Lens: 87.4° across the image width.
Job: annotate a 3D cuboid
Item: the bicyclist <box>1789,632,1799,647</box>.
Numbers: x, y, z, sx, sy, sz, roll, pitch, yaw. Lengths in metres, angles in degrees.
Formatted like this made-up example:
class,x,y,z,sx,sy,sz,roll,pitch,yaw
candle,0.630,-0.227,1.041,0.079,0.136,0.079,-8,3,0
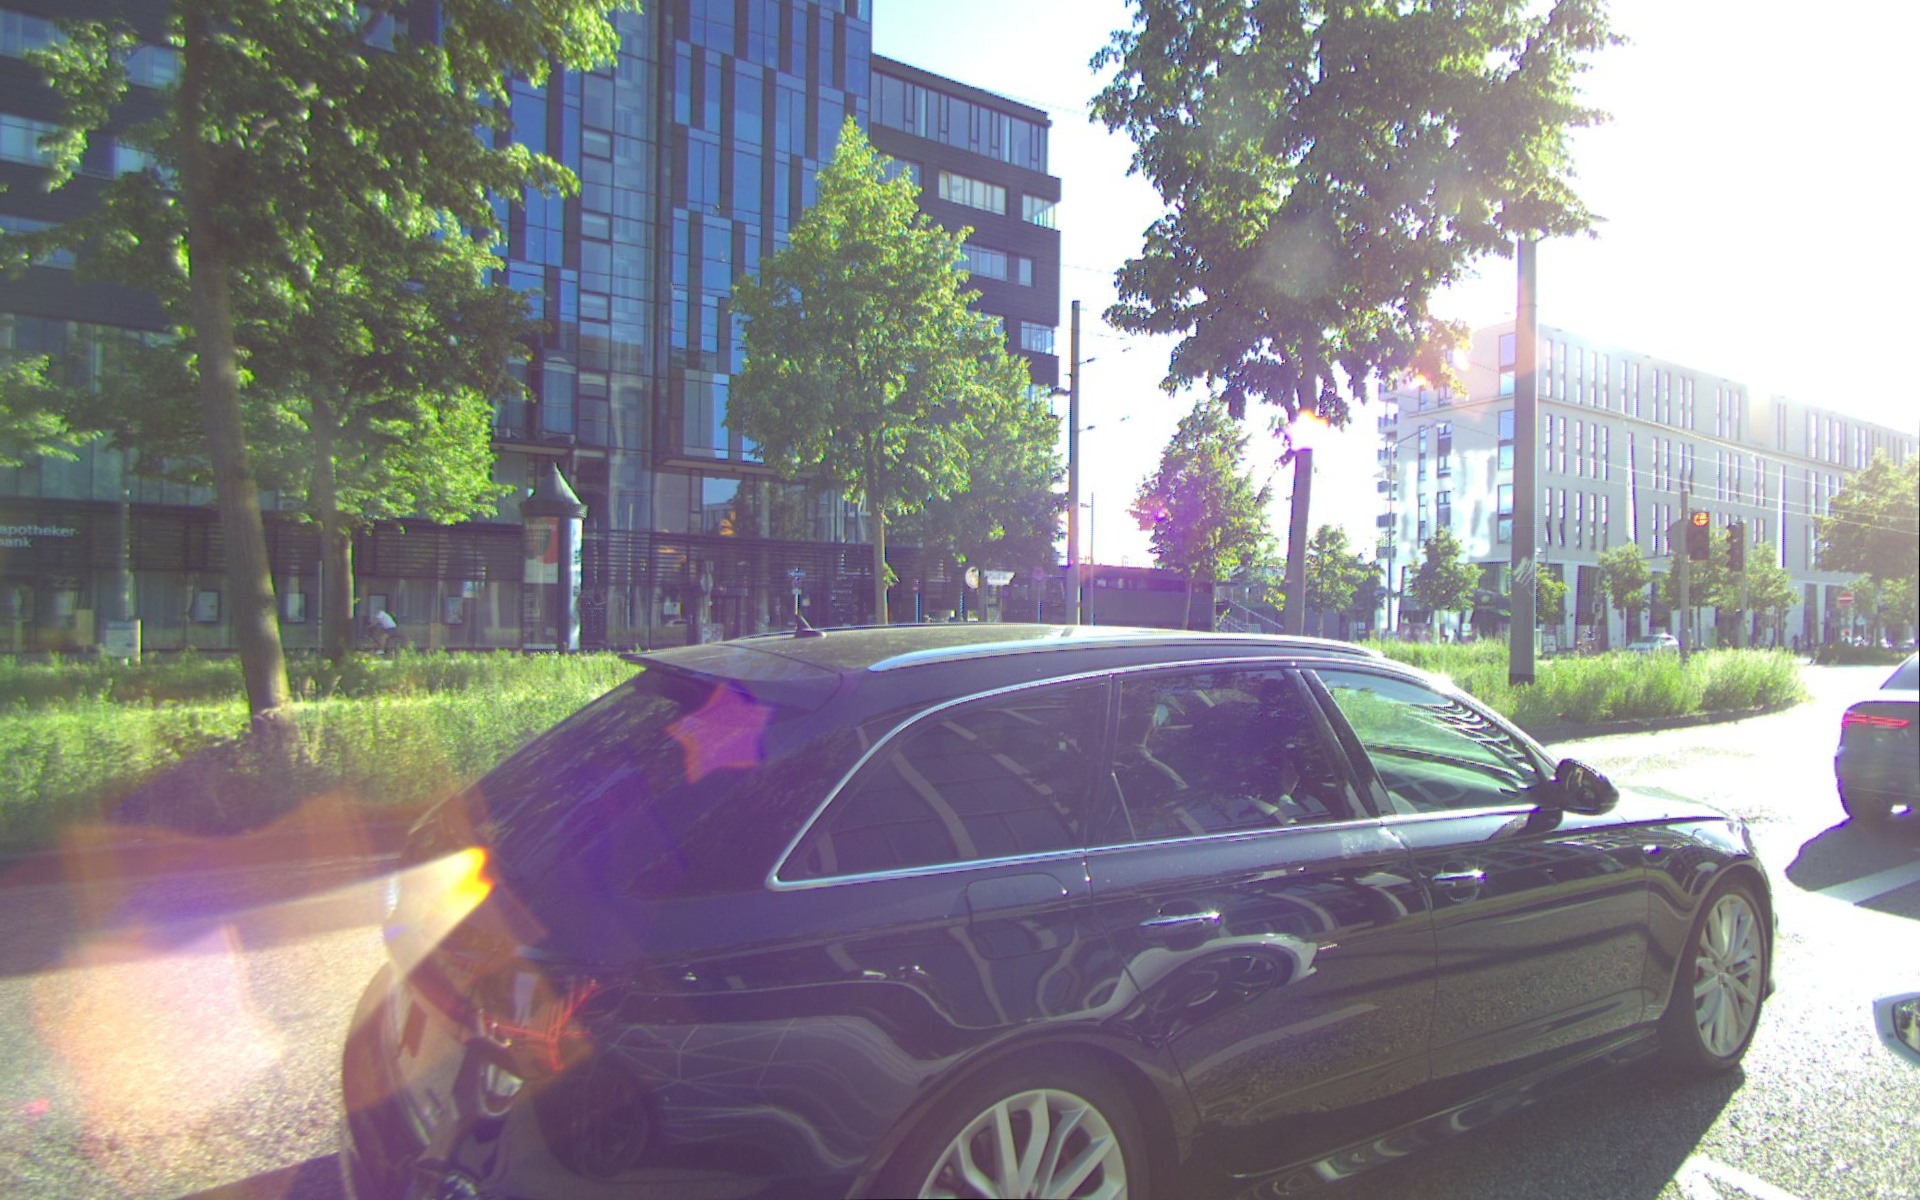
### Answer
class,x,y,z,sx,sy,sz,roll,pitch,yaw
bicyclist,74.949,3.541,90.265,0.698,1.310,0.574,2,0,-37

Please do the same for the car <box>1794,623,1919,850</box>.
class,x,y,z,sx,sy,sz,roll,pitch,yaw
car,8.398,0.984,7.833,4.068,1.548,1.798,2,-1,-33

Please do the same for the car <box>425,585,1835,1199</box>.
class,x,y,z,sx,sy,sz,roll,pitch,yaw
car,0.825,0.778,3.278,4.456,1.476,1.799,2,-1,-31

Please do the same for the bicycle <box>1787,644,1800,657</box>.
class,x,y,z,sx,sy,sz,roll,pitch,yaw
bicycle,74.890,4.511,90.240,1.623,1.125,0.524,2,-1,-38

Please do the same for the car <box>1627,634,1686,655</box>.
class,x,y,z,sx,sy,sz,roll,pitch,yaw
car,46.328,2.973,66.820,4.421,1.360,1.572,2,-1,-31

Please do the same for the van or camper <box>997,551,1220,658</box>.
class,x,y,z,sx,sy,sz,roll,pitch,yaw
van or camper,6.614,0.338,43.634,10.111,4.248,2.740,2,-1,-31

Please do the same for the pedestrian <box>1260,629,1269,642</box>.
class,x,y,z,sx,sy,sz,roll,pitch,yaw
pedestrian,26.166,3.064,86.398,0.593,1.140,0.437,2,0,-28

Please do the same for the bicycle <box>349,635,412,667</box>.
class,x,y,z,sx,sy,sz,roll,pitch,yaw
bicycle,-19.562,1.734,33.930,1.826,1.047,0.524,2,-1,-31

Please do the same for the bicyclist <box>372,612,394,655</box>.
class,x,y,z,sx,sy,sz,roll,pitch,yaw
bicyclist,-19.505,1.117,33.947,0.619,1.424,0.489,2,0,-31

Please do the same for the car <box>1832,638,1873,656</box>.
class,x,y,z,sx,sy,sz,roll,pitch,yaw
car,74.251,3.914,83.541,3.670,1.360,1.572,2,-1,-31
